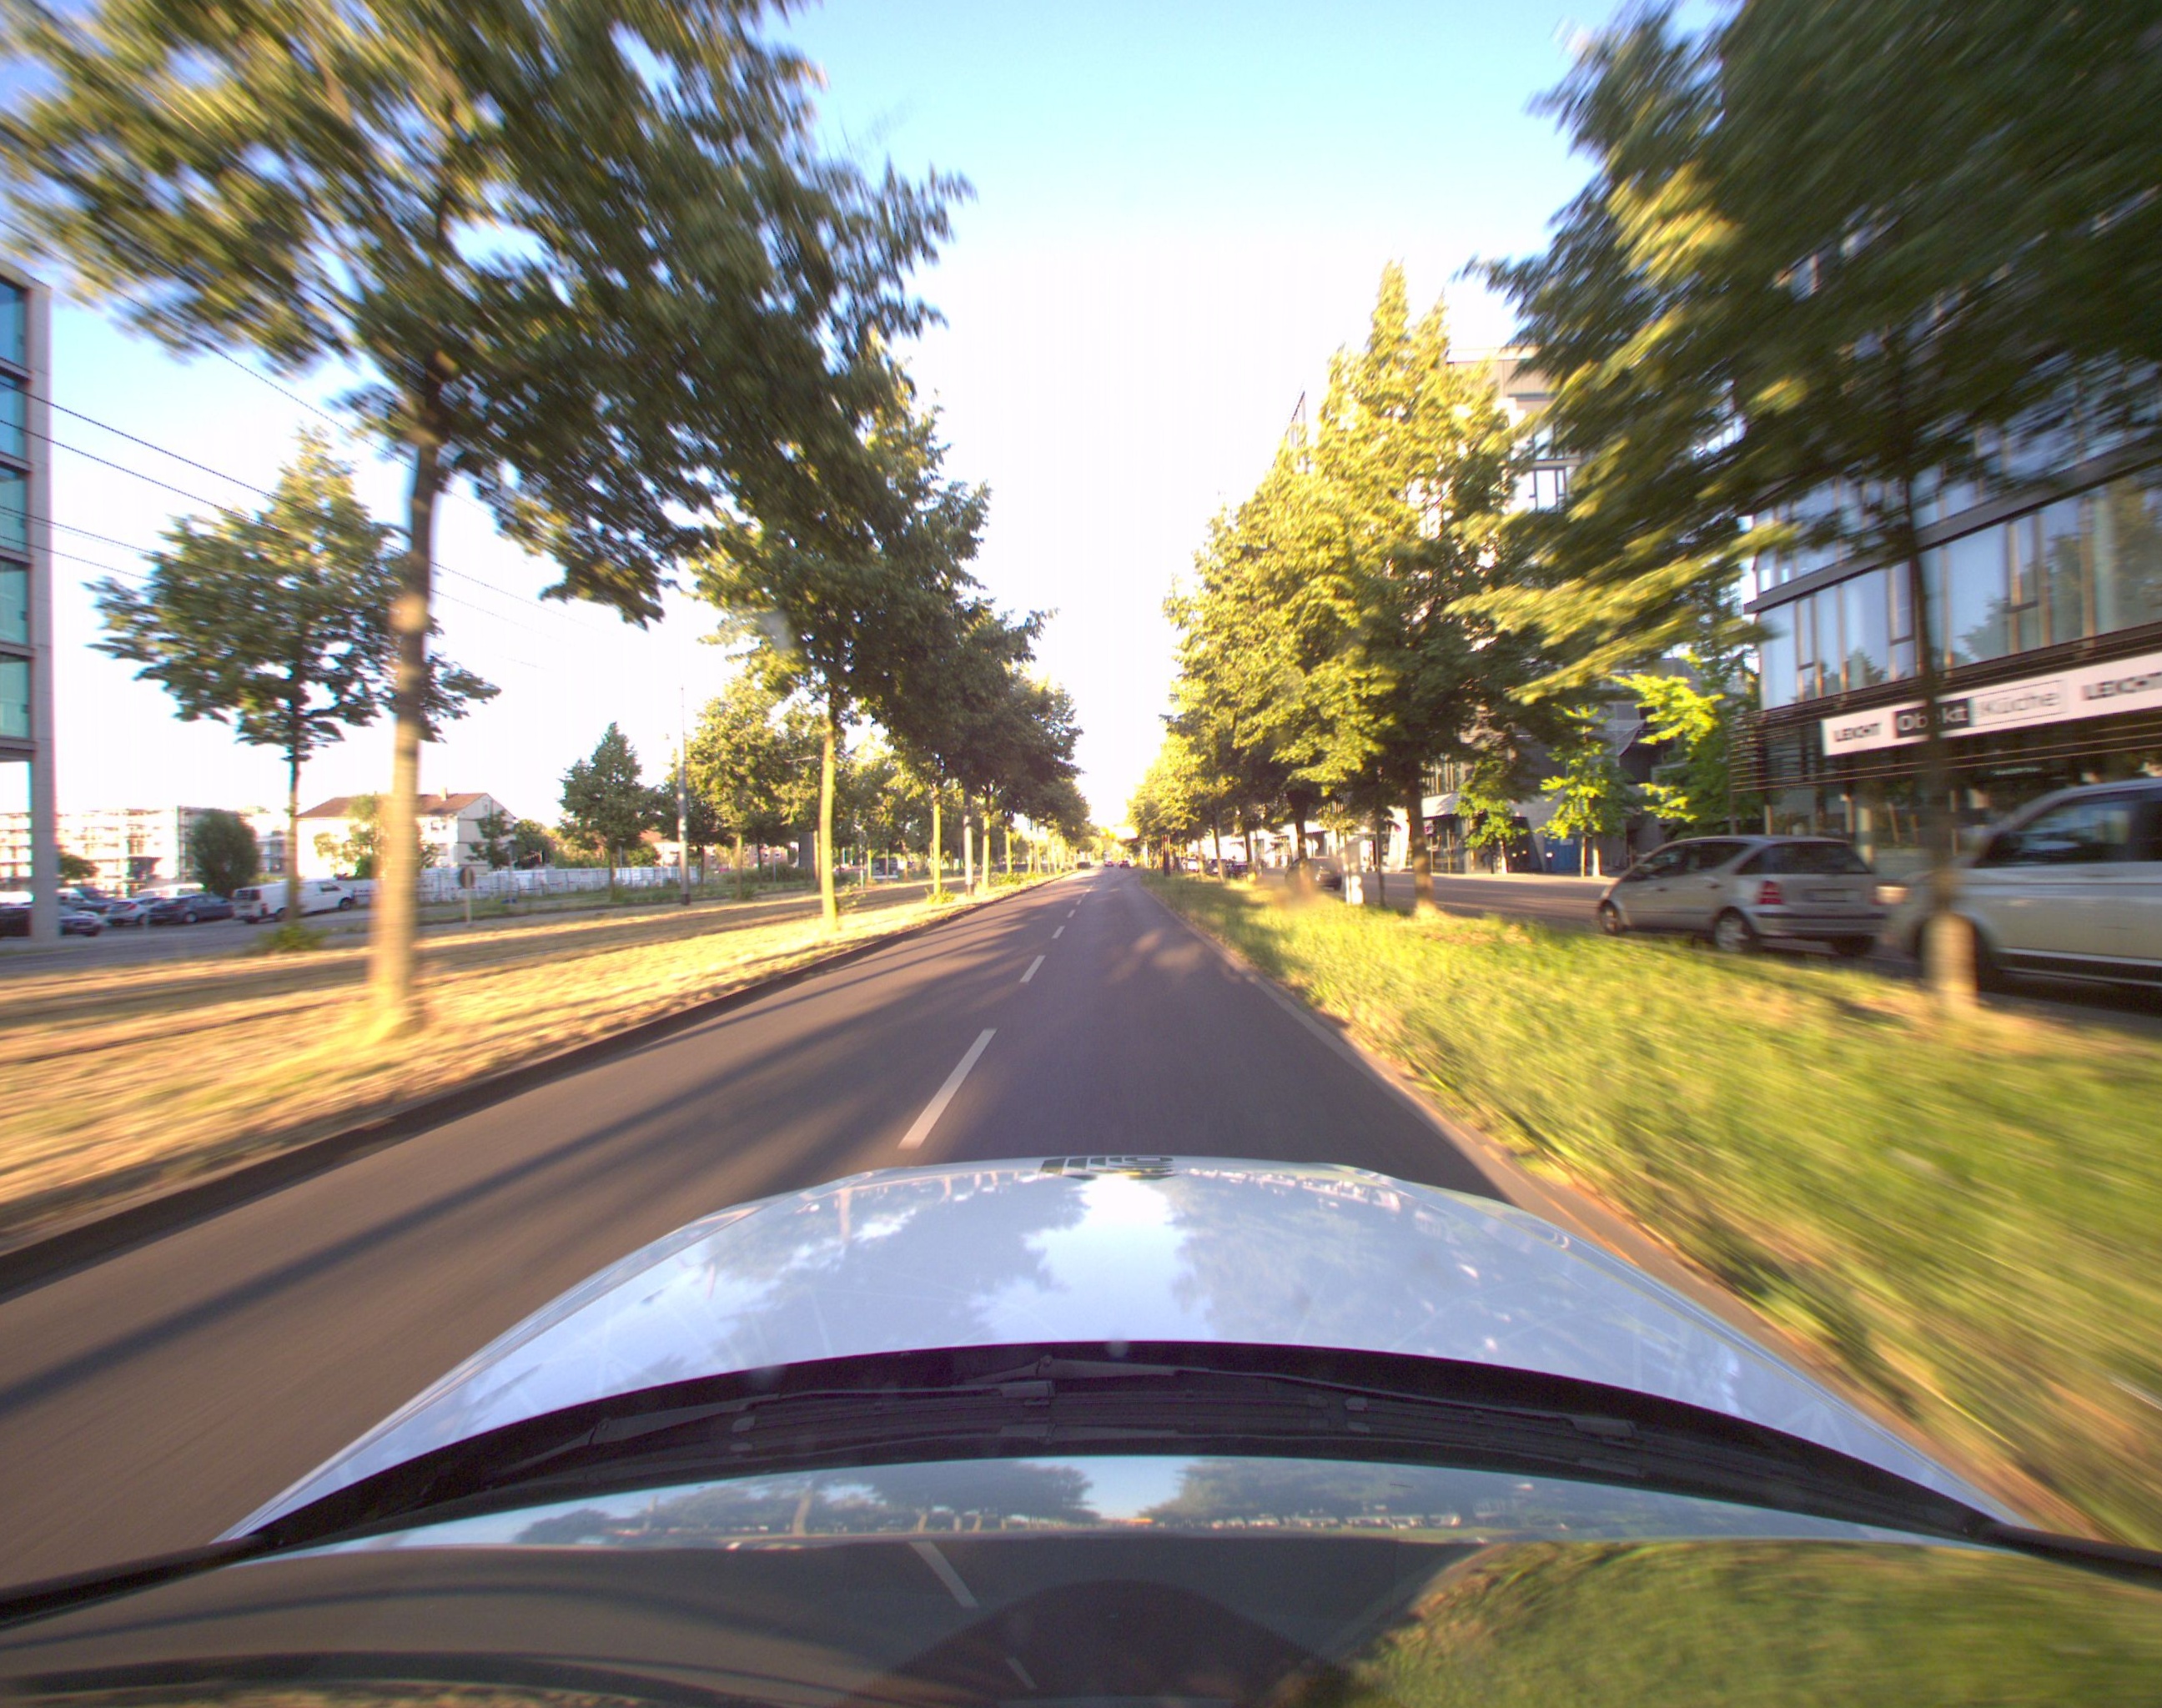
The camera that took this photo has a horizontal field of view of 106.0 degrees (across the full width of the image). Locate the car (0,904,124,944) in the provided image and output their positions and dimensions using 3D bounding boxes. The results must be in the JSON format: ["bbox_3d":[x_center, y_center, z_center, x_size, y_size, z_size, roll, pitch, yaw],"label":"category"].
[{"bbox_3d":[-44.139,3.013,34.993,3.968,1.446,1.896,-2,-1,4],"label":"car"}]

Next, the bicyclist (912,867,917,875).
[{"bbox_3d":[-30.964,3.231,151.313,0.617,1.421,0.937,-2,-1,0],"label":"bicyclist"}]

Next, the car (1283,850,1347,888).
[{"bbox_3d":[10.123,0.625,35.518,1.774,1.494,4.002,1,0,2],"label":"car"}]

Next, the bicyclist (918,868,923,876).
[{"bbox_3d":[-30.367,3.336,153.895,0.617,1.456,0.937,-2,-1,0],"label":"bicyclist"}]

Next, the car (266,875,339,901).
[{"bbox_3d":[-64.471,2.804,67.562,1.791,1.982,4.312,-2,-1,1],"label":"car"}]

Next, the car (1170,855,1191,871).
[{"bbox_3d":[12.602,1.140,103.528,1.987,1.852,4.664,-2,-1,0],"label":"car"}]

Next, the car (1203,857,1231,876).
[{"bbox_3d":[11.027,0.991,66.088,1.703,1.515,3.759,0,-1,1],"label":"car"}]

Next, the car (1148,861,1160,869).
[{"bbox_3d":[13.945,2.021,155.966,1.772,1.472,4.287,-2,-1,0],"label":"car"}]

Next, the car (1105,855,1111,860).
[{"bbox_3d":[8.339,1.165,251.652,1.905,1.486,4.001,-2,-1,1],"label":"car"}]

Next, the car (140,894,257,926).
[{"bbox_3d":[-48.563,3.041,44.926,1.986,1.418,4.002,-2,-1,2],"label":"car"}]

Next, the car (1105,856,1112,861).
[{"bbox_3d":[8.074,1.314,237.260,1.905,1.486,4.001,-2,-1,1],"label":"car"}]

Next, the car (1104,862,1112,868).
[{"bbox_3d":[6.502,2.662,197.988,1.905,1.486,4.001,-2,-1,1],"label":"car"}]

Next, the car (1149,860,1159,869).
[{"bbox_3d":[13.372,1.922,149.126,1.569,1.472,3.883,-2,-1,2],"label":"car"}]

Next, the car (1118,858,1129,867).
[{"bbox_3d":[8.002,1.611,152.526,1.905,1.486,4.001,-2,-1,1],"label":"car"}]

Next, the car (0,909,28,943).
[{"bbox_3d":[-49.081,3.242,35.557,3.967,1.446,1.897,-2,-1,5],"label":"car"}]

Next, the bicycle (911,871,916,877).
[{"bbox_3d":[-31.564,3.765,153.559,0.617,1.011,2.082,-2,-1,0],"label":"bicycle"}]

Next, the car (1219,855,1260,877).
[{"bbox_3d":[10.889,0.818,56.261,1.846,1.367,4.833,-2,0,0],"label":"car"}]

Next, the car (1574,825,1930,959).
[{"bbox_3d":[9.263,0.474,11.780,1.832,1.571,4.061,-1,0,1],"label":"car"}]

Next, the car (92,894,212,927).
[{"bbox_3d":[-51.664,3.085,45.402,1.986,1.510,4.002,-2,-1,2],"label":"car"}]

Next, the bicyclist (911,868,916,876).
[{"bbox_3d":[-31.586,3.379,153.696,0.617,1.456,0.937,-2,-1,0],"label":"bicyclist"}]

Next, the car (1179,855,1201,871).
[{"bbox_3d":[12.169,1.008,90.816,1.985,1.642,4.881,-2,-1,3],"label":"car"}]

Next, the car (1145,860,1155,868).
[{"bbox_3d":[14.542,2.122,171.078,1.751,1.466,4.157,-2,-1,0],"label":"car"}]

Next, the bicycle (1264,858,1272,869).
[{"bbox_3d":[19.202,0.972,83.666,0.468,1.039,1.808,-2,-1,3],"label":"bicycle"}]

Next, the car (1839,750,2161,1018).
[{"bbox_3d":[9.006,0.208,6.174,1.979,1.989,4.933,-1,0,1],"label":"car"}]

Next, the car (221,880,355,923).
[{"bbox_3d":[-43.043,2.535,44.417,2.198,2.014,5.086,-2,-1,2],"label":"car"}]

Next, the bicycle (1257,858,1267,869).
[{"bbox_3d":[18.648,0.978,83.951,0.592,1.039,1.894,-2,-1,3],"label":"bicycle"}]

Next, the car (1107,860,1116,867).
[{"bbox_3d":[7.016,2.263,186.108,1.905,1.486,4.001,-2,-1,1],"label":"car"}]
